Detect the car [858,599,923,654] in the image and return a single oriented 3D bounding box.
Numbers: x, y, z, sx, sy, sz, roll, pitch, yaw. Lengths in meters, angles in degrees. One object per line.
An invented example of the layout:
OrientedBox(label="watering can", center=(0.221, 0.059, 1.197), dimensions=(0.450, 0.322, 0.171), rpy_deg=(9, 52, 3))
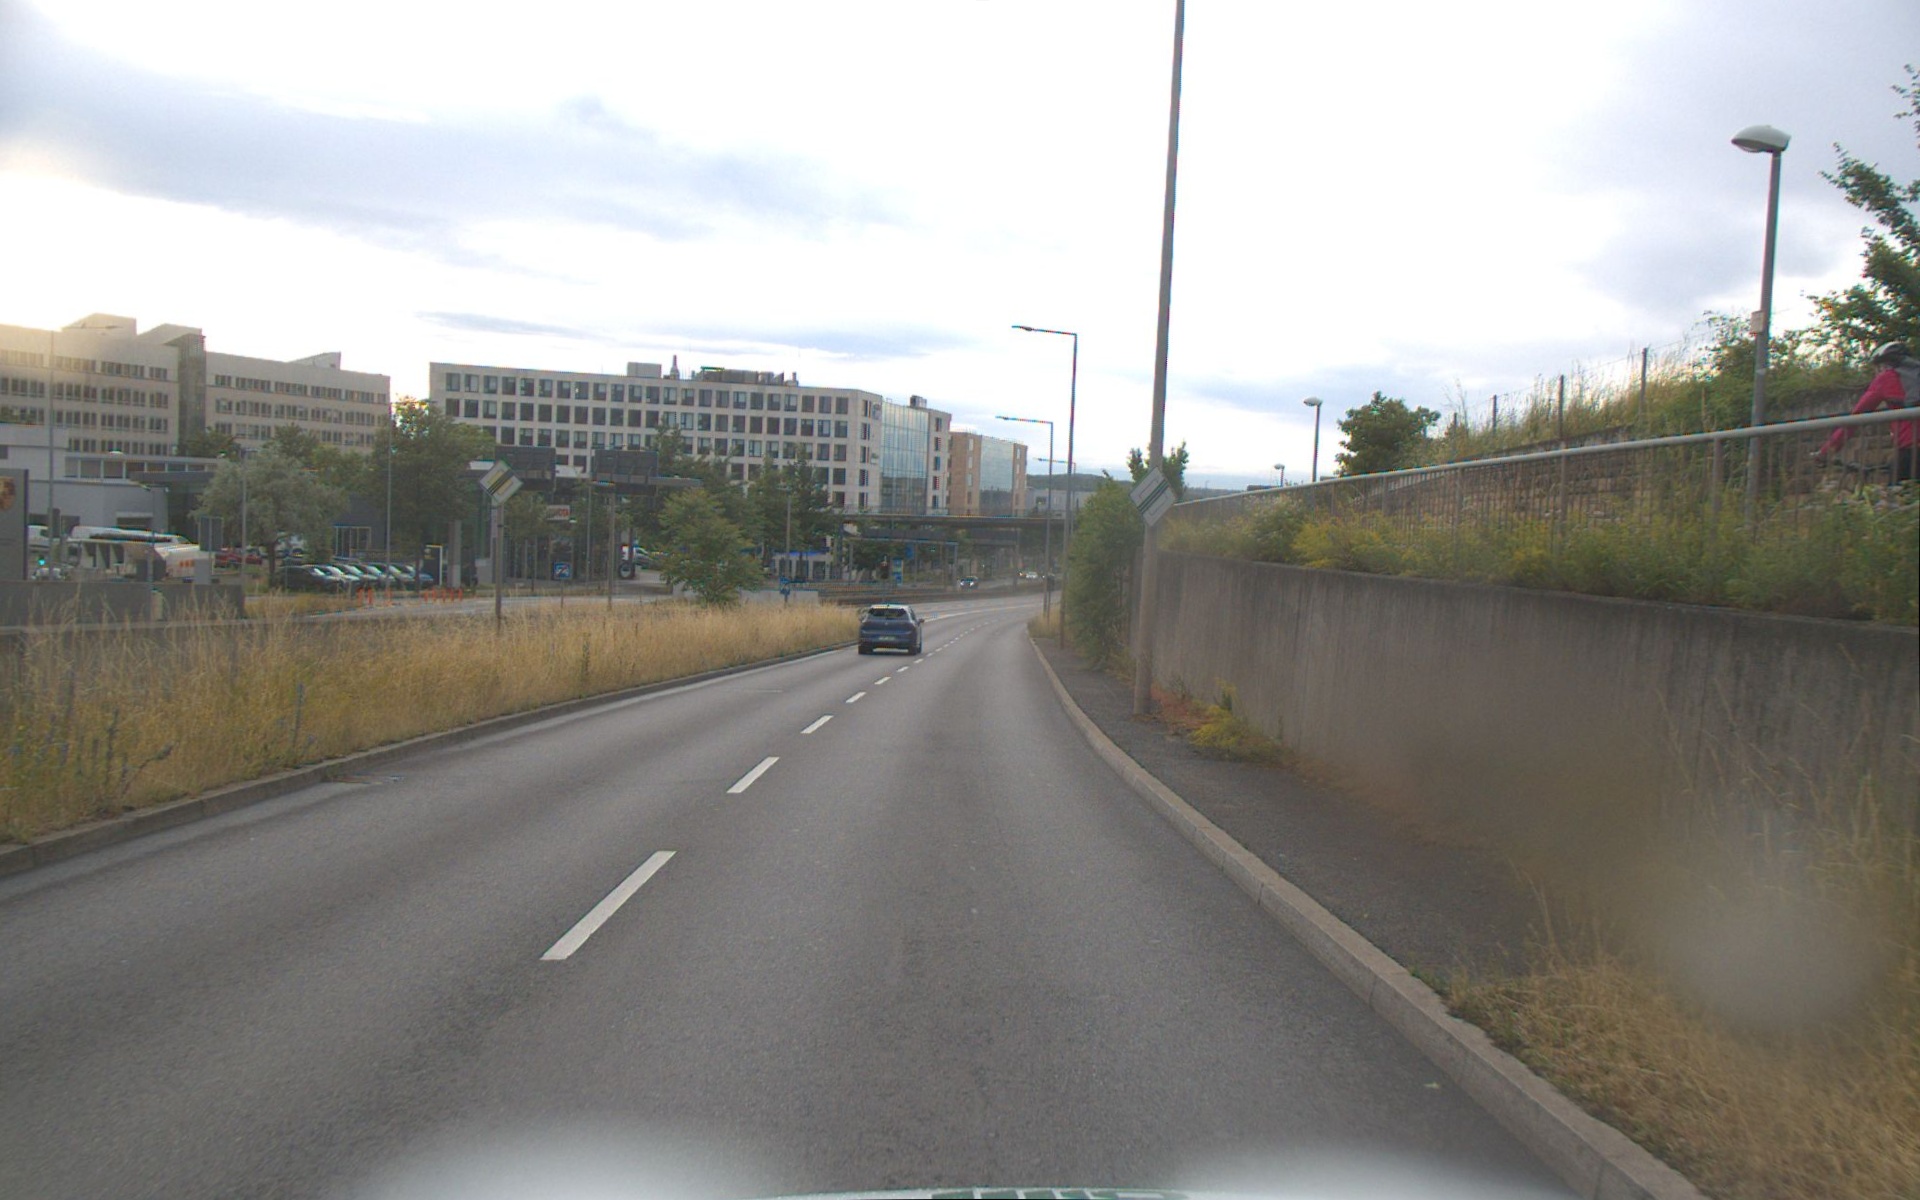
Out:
OrientedBox(label="car", center=(-2.046, 0.755, 49.779), dimensions=(1.712, 1.444, 3.480), rpy_deg=(0, 2, 1))

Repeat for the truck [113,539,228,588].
OrientedBox(label="truck", center=(-48.741, -2.322, 102.354), dimensions=(2.316, 2.570, 7.420), rpy_deg=(5, 4, 11))

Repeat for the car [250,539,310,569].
OrientedBox(label="car", center=(-49.942, -3.370, 121.586), dimensions=(3.929, 1.812, 1.913), rpy_deg=(3, 4, -21))

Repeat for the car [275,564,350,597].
OrientedBox(label="car", center=(-39.826, -1.203, 101.687), dimensions=(3.917, 1.627, 1.701), rpy_deg=(5, 4, 10))

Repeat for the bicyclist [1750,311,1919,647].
OrientedBox(label="bicyclist", center=(5.769, -0.719, 10.348), dimensions=(0.851, 1.941, 1.294), rpy_deg=(4, 3, -2))

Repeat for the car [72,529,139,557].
OrientedBox(label="car", center=(-58.860, -3.934, 113.994), dimensions=(1.877, 1.712, 4.004), rpy_deg=(5, 4, 14))

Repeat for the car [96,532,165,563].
OrientedBox(label="car", center=(-56.550, -3.597, 112.800), dimensions=(1.952, 1.913, 4.004), rpy_deg=(5, 4, 15))

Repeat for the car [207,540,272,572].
OrientedBox(label="car", center=(-48.743, -3.015, 111.980), dimensions=(1.862, 1.913, 4.004), rpy_deg=(5, 4, 15))

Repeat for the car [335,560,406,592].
OrientedBox(label="car", center=(-38.642, -1.573, 108.483), dimensions=(3.903, 1.712, 1.926), rpy_deg=(5, 4, 10))

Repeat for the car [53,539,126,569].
OrientedBox(label="car", center=(-56.171, -3.006, 106.778), dimensions=(1.877, 1.712, 4.004), rpy_deg=(5, 4, 14))

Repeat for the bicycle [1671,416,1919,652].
OrientedBox(label="bicycle", center=(5.740, -0.413, 10.416), dimensions=(0.851, 1.310, 3.487), rpy_deg=(4, 3, -1))

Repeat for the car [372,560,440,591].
OrientedBox(label="car", center=(-37.875, -1.684, 113.196), dimensions=(3.903, 1.712, 1.926), rpy_deg=(5, 4, 10))

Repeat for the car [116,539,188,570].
OrientedBox(label="car", center=(-51.434, -2.938, 105.330), dimensions=(1.877, 1.712, 4.004), rpy_deg=(5, 4, 14))

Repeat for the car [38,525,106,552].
OrientedBox(label="car", center=(-61.689, -4.298, 114.966), dimensions=(1.877, 1.712, 4.004), rpy_deg=(5, 4, 14))

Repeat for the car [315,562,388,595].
OrientedBox(label="car", center=(-39.042, -1.396, 106.096), dimensions=(3.903, 1.712, 1.926), rpy_deg=(5, 4, 10))

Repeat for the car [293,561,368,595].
OrientedBox(label="car", center=(-39.459, -1.368, 103.772), dimensions=(3.903, 1.712, 1.926), rpy_deg=(5, 4, 10))

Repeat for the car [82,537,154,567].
OrientedBox(label="car", center=(-54.094, -3.094, 106.280), dimensions=(1.877, 1.712, 4.004), rpy_deg=(5, 4, 14))

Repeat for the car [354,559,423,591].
OrientedBox(label="car", center=(-38.313, -1.700, 110.884), dimensions=(3.903, 1.712, 1.926), rpy_deg=(5, 4, 10))
